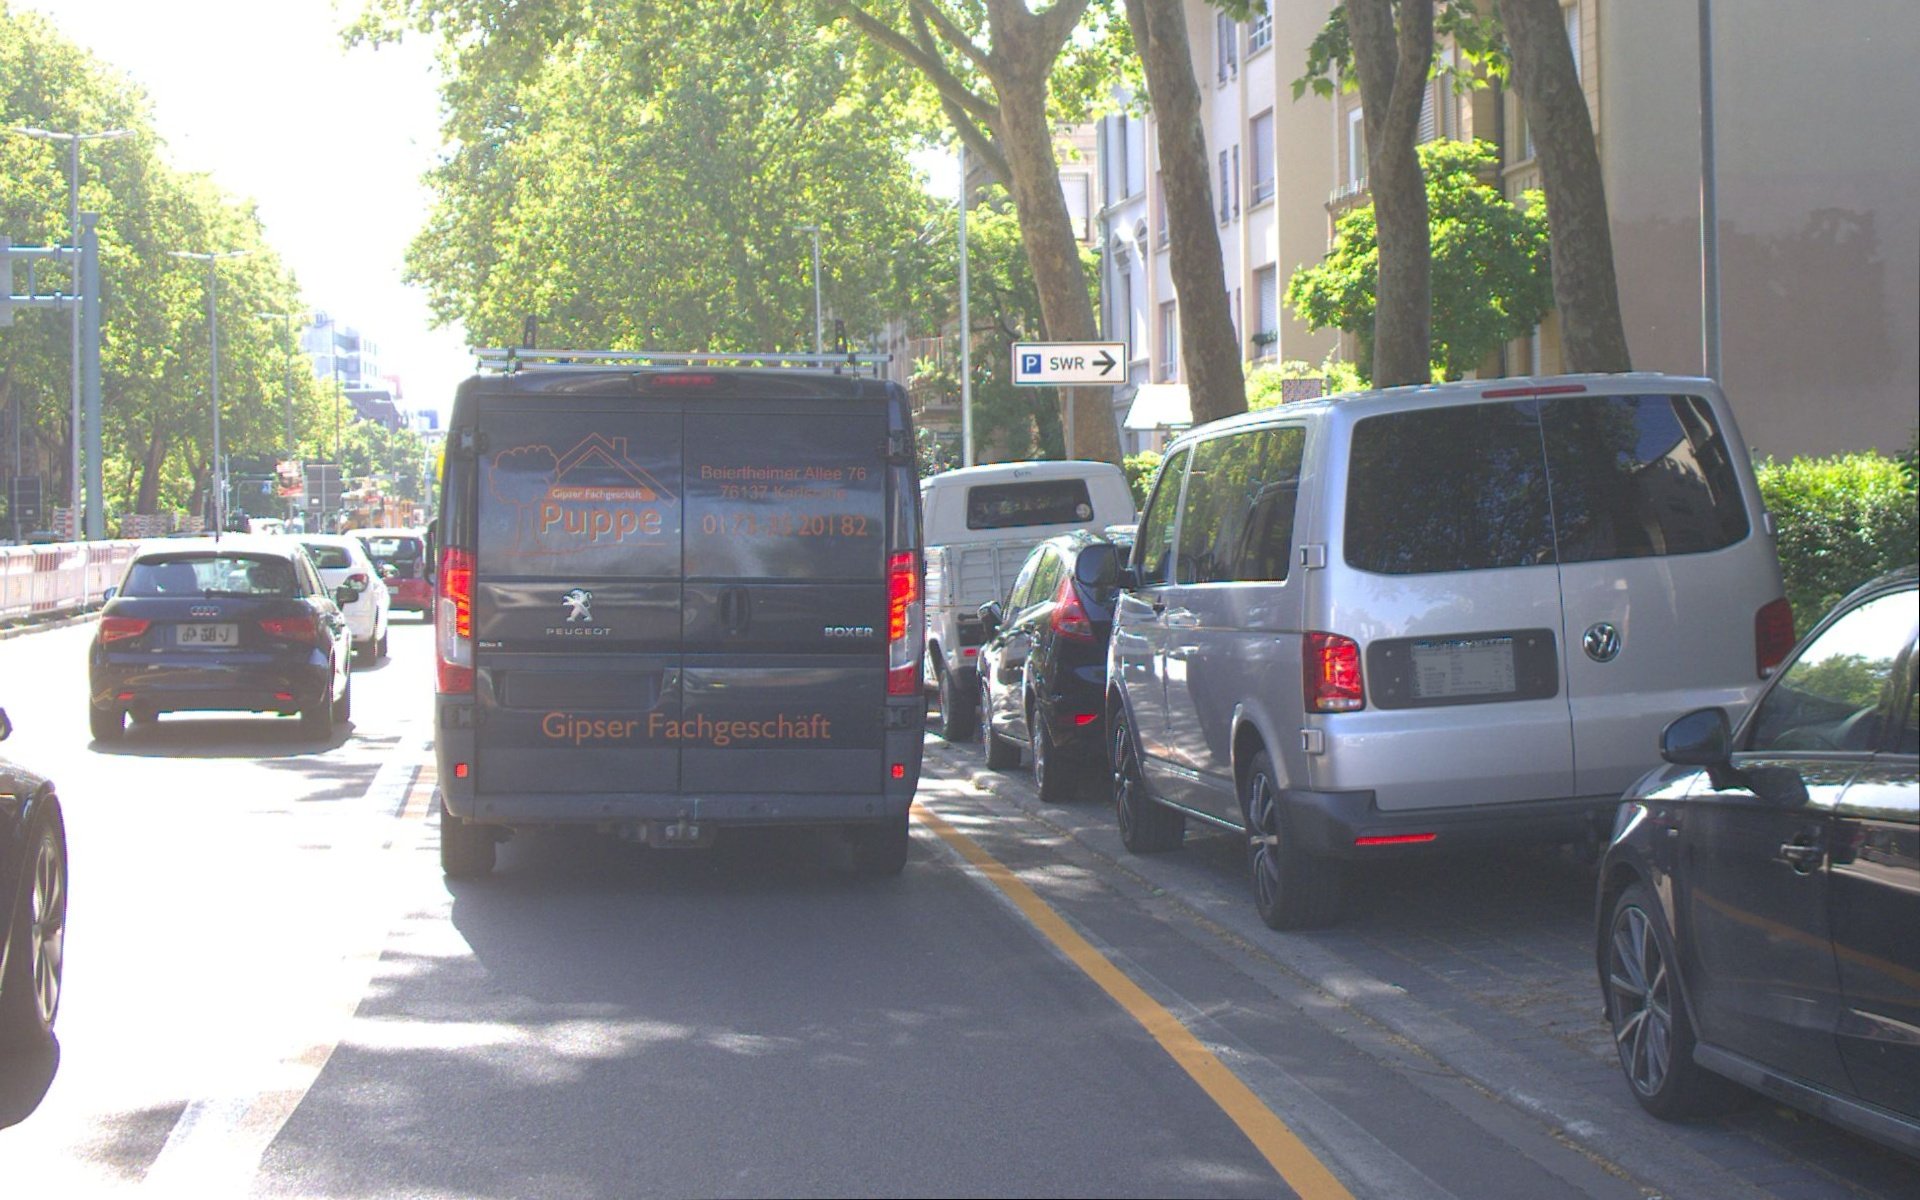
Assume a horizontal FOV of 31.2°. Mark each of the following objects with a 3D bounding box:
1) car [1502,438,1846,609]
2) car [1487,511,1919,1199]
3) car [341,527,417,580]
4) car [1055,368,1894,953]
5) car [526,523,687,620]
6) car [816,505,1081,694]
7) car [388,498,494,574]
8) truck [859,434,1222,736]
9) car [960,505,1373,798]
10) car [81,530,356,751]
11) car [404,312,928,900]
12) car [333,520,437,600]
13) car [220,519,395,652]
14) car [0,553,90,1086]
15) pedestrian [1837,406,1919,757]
[{"bbox_3d":[8.062,-0.872,38.995,1.705,1.847,3.506,-1,2,-40],"label":"car"},{"bbox_3d":[2.542,0.580,7.553,1.657,1.535,4.129,0,1,-7],"label":"car"},{"bbox_3d":[-17.388,-1.400,102.963,1.993,1.464,4.001,1,2,-6],"label":"car"},{"bbox_3d":[1.826,0.137,14.198,2.025,1.940,5.275,-1,1,-8],"label":"car"},{"bbox_3d":[-4.854,-0.416,46.778,1.993,1.245,4.001,-1,1,-8],"label":"car"},{"bbox_3d":[-0.188,-0.047,30.740,1.821,1.502,4.678,-2,1,-6],"label":"car"},{"bbox_3d":[-11.336,-1.400,75.333,1.993,1.583,4.001,-1,1,-5],"label":"car"},{"bbox_3d":[0.479,-0.163,25.135,1.876,1.875,4.455,4,1,-7],"label":"truck"},{"bbox_3d":[1.078,0.224,19.902,1.747,1.472,4.102,-2,1,-5],"label":"car"},{"bbox_3d":[-5.376,0.237,25.309,1.746,1.402,4.002,0,2,-9],"label":"car"},{"bbox_3d":[-1.371,-0.040,15.786,2.095,2.347,3.934,0,2,-6],"label":"car"},{"bbox_3d":[-9.219,-0.660,55.306,1.421,1.221,3.439,-1,1,-6],"label":"car"},{"bbox_3d":[-7.295,-0.187,38.670,1.547,1.420,3.556,0,1,-5],"label":"car"},{"bbox_3d":[-3.444,0.617,8.148,1.925,1.407,4.627,0,1,-5],"label":"car"},{"bbox_3d":[4.690,-0.094,15.983,0.727,1.597,1.268,-1,1,-10],"label":"pedestrian"}]
